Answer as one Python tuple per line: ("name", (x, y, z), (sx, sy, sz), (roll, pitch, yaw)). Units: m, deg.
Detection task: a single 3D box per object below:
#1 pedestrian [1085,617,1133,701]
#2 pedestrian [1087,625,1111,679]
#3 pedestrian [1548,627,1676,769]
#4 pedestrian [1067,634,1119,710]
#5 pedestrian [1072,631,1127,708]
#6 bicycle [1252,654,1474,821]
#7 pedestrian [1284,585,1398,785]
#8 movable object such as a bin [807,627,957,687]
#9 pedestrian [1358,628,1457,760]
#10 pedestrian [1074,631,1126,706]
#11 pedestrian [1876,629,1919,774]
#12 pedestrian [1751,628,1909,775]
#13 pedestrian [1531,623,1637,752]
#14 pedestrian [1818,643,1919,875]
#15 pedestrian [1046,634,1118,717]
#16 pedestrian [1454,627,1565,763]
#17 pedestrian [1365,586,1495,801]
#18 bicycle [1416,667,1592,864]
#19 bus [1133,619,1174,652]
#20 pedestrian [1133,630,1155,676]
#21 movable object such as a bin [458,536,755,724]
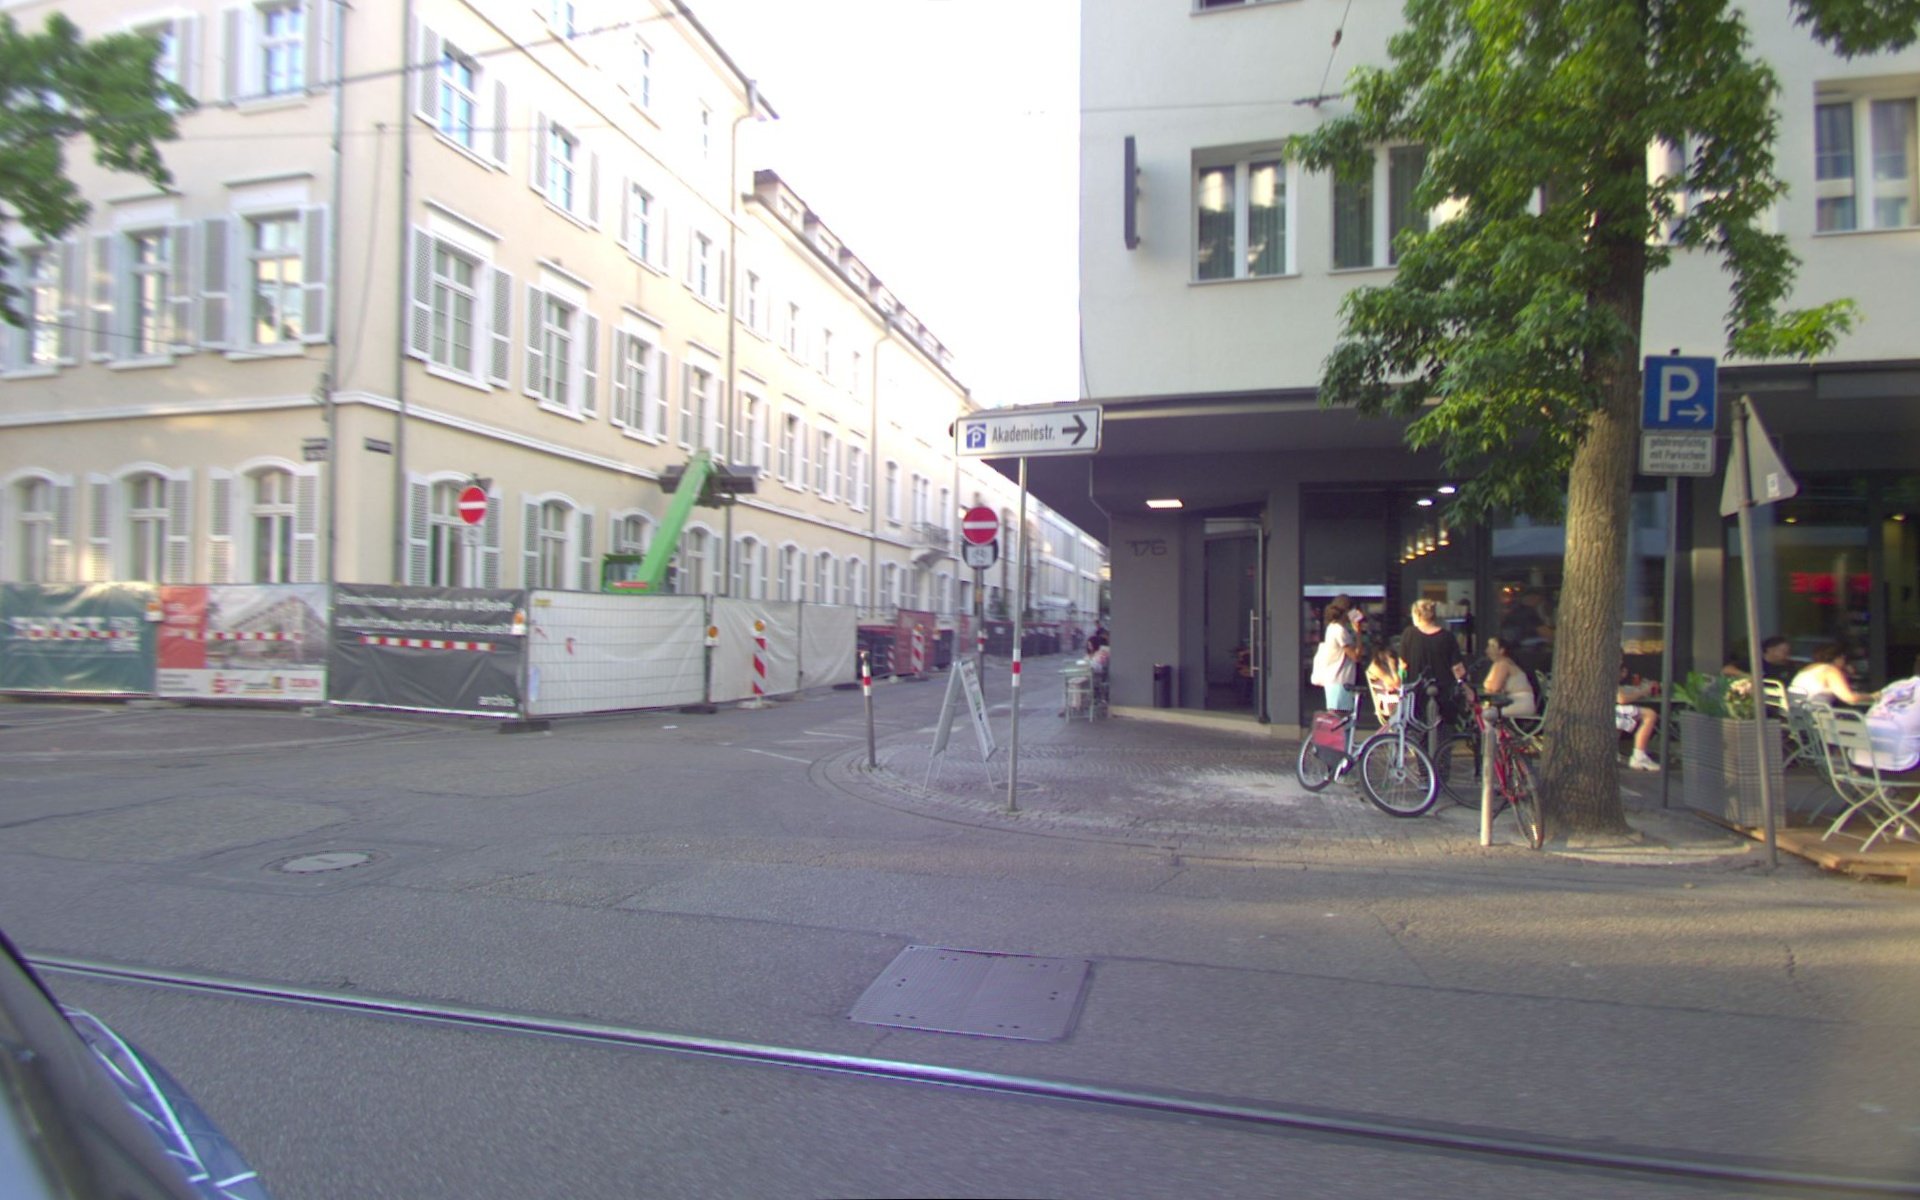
("pedestrian", (2.849, 1.112, 19.312), (0.701, 1.559, 0.854), (-1, -3, 22))
("pedestrian", (4.723, 1.744, 34.253), (0.699, 1.795, 0.928), (-1, -2, 14))
("pedestrian", (6.556, 0.950, 10.230), (0.874, 1.330, 0.883), (1, -1, 18))
("pedestrian", (2.209, 1.185, 16.797), (0.700, 1.205, 0.687), (-4, -3, 18))
("pedestrian", (2.407, 1.186, 17.509), (0.695, 1.296, 0.862), (0, -2, -10))
("bicycle", (3.256, 1.062, 8.404), (0.767, 1.148, 1.871), (1, -1, -13))
("pedestrian", (3.513, 0.755, 9.371), (0.631, 1.754, 0.784), (1, -1, -16))
("movable object such as a bin", (-2.315, 1.839, 33.216), (2.871, 1.677, 7.263), (1, -3, 13))
("pedestrian", (4.818, 0.980, 10.958), (0.874, 1.330, 0.883), (1, -1, 18))
("pedestrian", (2.446, 1.190, 17.625), (0.700, 1.249, 0.773), (-4, -3, 18))
("pedestrian", (9.359, 0.946, 9.485), (0.874, 1.330, 0.845), (1, -1, 19))
("pedestrian", (8.428, 0.946, 9.854), (0.874, 1.330, 0.883), (1, -1, 18))
("pedestrian", (6.730, 0.917, 10.950), (0.835, 1.330, 0.620), (1, -1, 18))
("pedestrian", (6.112, 0.983, 6.427), (0.786, 1.388, 0.691), (0, -1, 17))
("pedestrian", (1.865, 1.135, 15.496), (0.828, 1.228, 0.707), (2, -3, -38))
("pedestrian", (5.713, 0.953, 10.578), (0.874, 1.330, 0.845), (1, -1, 19))
("pedestrian", (4.063, 0.775, 8.774), (0.630, 1.754, 0.784), (1, -1, -27))
("bicycle", (3.917, 1.122, 7.446), (0.620, 1.148, 1.860), (1, -1, 11))
("bus", (21.177, 3.781, 110.289), (3.886, 3.350, 12.481), (1, -1, 13))
("pedestrian", (6.412, 1.836, 35.313), (0.703, 1.590, 0.611), (-2, -3, 12))
("movable object such as a bin", (-6.129, 0.546, 18.596), (2.617, 2.894, 5.543), (1, -2, 12))
